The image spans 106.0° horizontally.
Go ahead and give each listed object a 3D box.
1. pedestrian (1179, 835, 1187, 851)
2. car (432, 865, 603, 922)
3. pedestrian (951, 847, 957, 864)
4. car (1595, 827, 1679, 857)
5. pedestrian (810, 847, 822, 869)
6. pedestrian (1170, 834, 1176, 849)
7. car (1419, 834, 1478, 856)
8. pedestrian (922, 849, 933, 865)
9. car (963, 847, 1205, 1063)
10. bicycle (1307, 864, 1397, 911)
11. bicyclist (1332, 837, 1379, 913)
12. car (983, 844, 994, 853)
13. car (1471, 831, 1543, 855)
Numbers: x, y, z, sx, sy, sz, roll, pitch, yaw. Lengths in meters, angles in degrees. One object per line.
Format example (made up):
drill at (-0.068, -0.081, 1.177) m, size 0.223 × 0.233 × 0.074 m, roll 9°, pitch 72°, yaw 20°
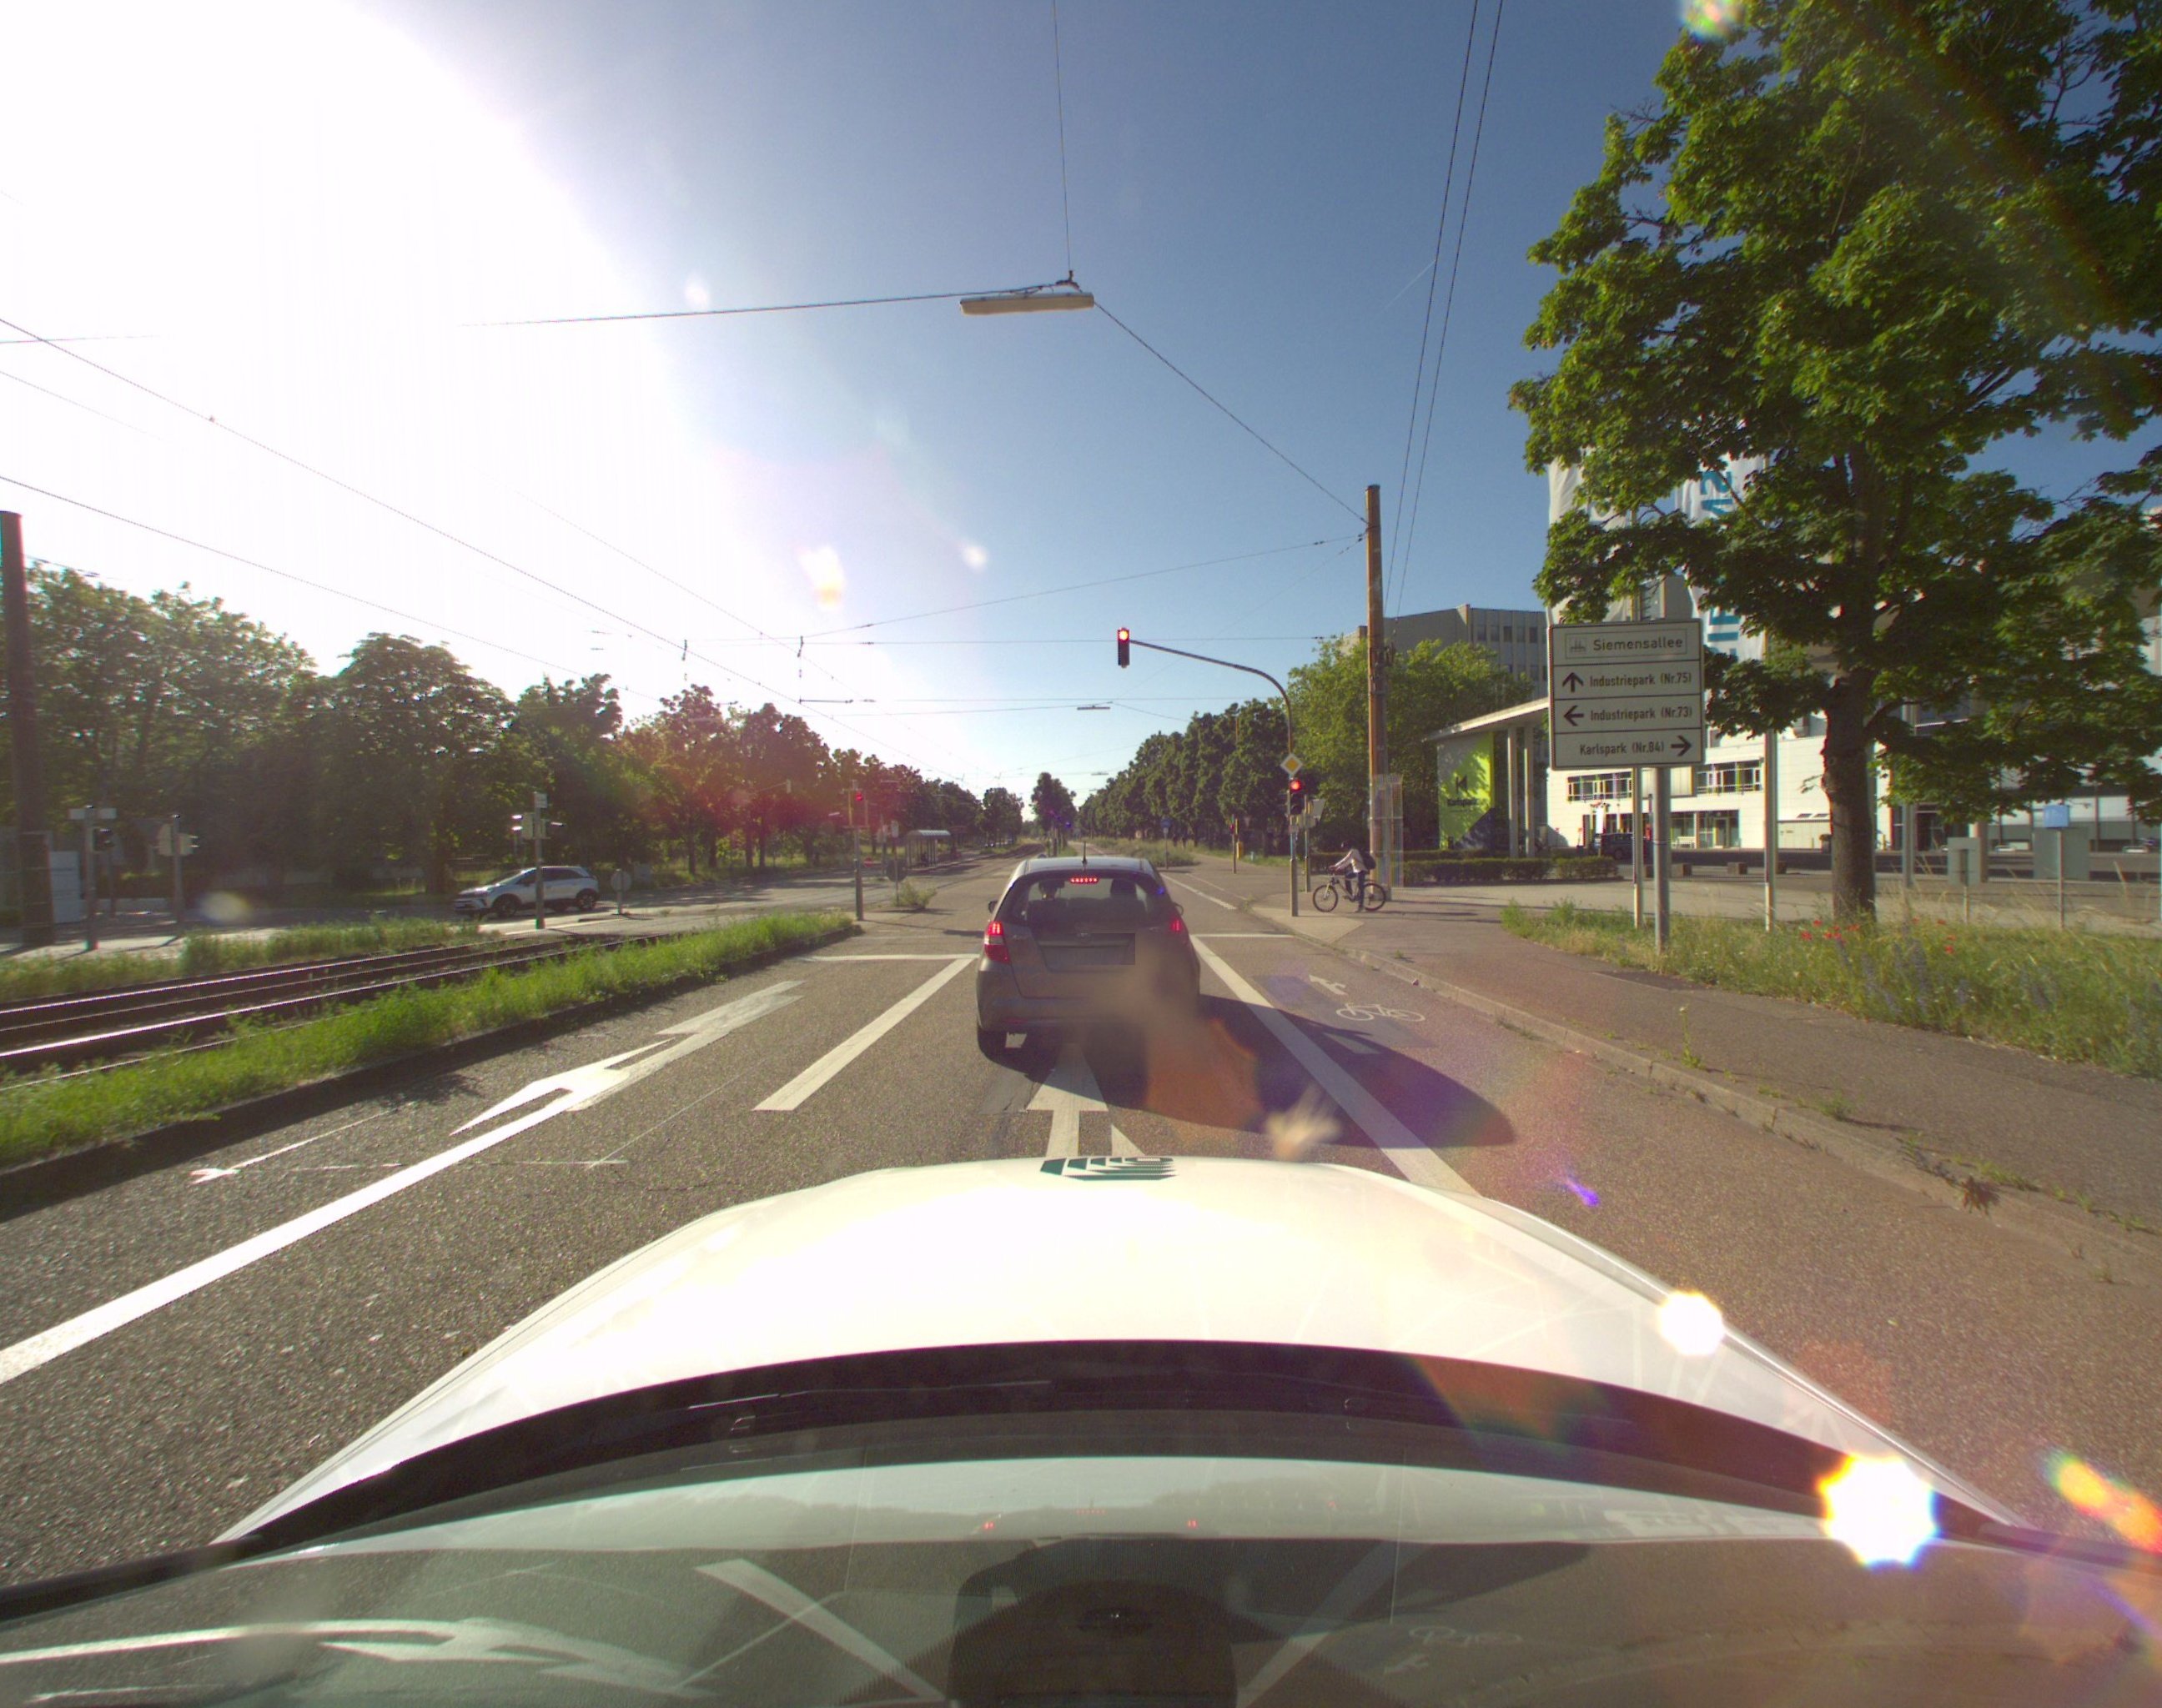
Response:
pedestrian at (10.791, -1.169, 86.033) m, size 0.676 × 1.610 × 0.720 m, roll 0°, pitch 0°, yaw -1°
car at (-18.525, 1.241, 27.001) m, size 1.833 × 1.606 × 4.281 m, roll -1°, pitch 0°, yaw 28°
pedestrian at (-12.600, 0.127, 80.675) m, size 0.502 × 1.675 × 0.386 m, roll -1°, pitch 0°, yaw -10°
car at (33.734, -0.725, 49.442) m, size 3.984 × 1.720 × 1.895 m, roll -1°, pitch 0°, yaw -8°
pedestrian at (-24.292, 0.347, 74.672) m, size 0.837 × 2.013 × 0.863 m, roll -1°, pitch 0°, yaw 0°
pedestrian at (9.760, -1.282, 86.064) m, size 0.565 × 1.596 × 0.665 m, roll 0°, pitch 0°, yaw -2°
car at (30.088, -0.734, 66.747) m, size 3.989 × 1.757 × 1.993 m, roll -1°, pitch 0°, yaw -11°
pedestrian at (-12.463, 0.232, 66.105) m, size 0.718 × 1.246 × 0.710 m, roll -2°, pitch 0°, yaw 0°
car at (0.106, 0.709, 7.747) m, size 1.700 × 1.509 × 4.002 m, roll -1°, pitch 0°, yaw 2°
bicycle at (6.435, 0.798, 19.445) m, size 1.907 × 0.998 × 0.767 m, roll -3°, pitch -1°, yaw 12°
bicyclist at (6.531, 0.500, 19.428) m, size 0.904 × 1.745 × 0.767 m, roll -3°, pitch -1°, yaw 12°
car at (-19.294, -1.115, 170.554) m, size 1.761 × 1.738 × 3.999 m, roll -1°, pitch 0°, yaw 0°
car at (31.211, -0.767, 59.699) m, size 4.538 × 1.629 × 1.869 m, roll -1°, pitch 0°, yaw -11°
